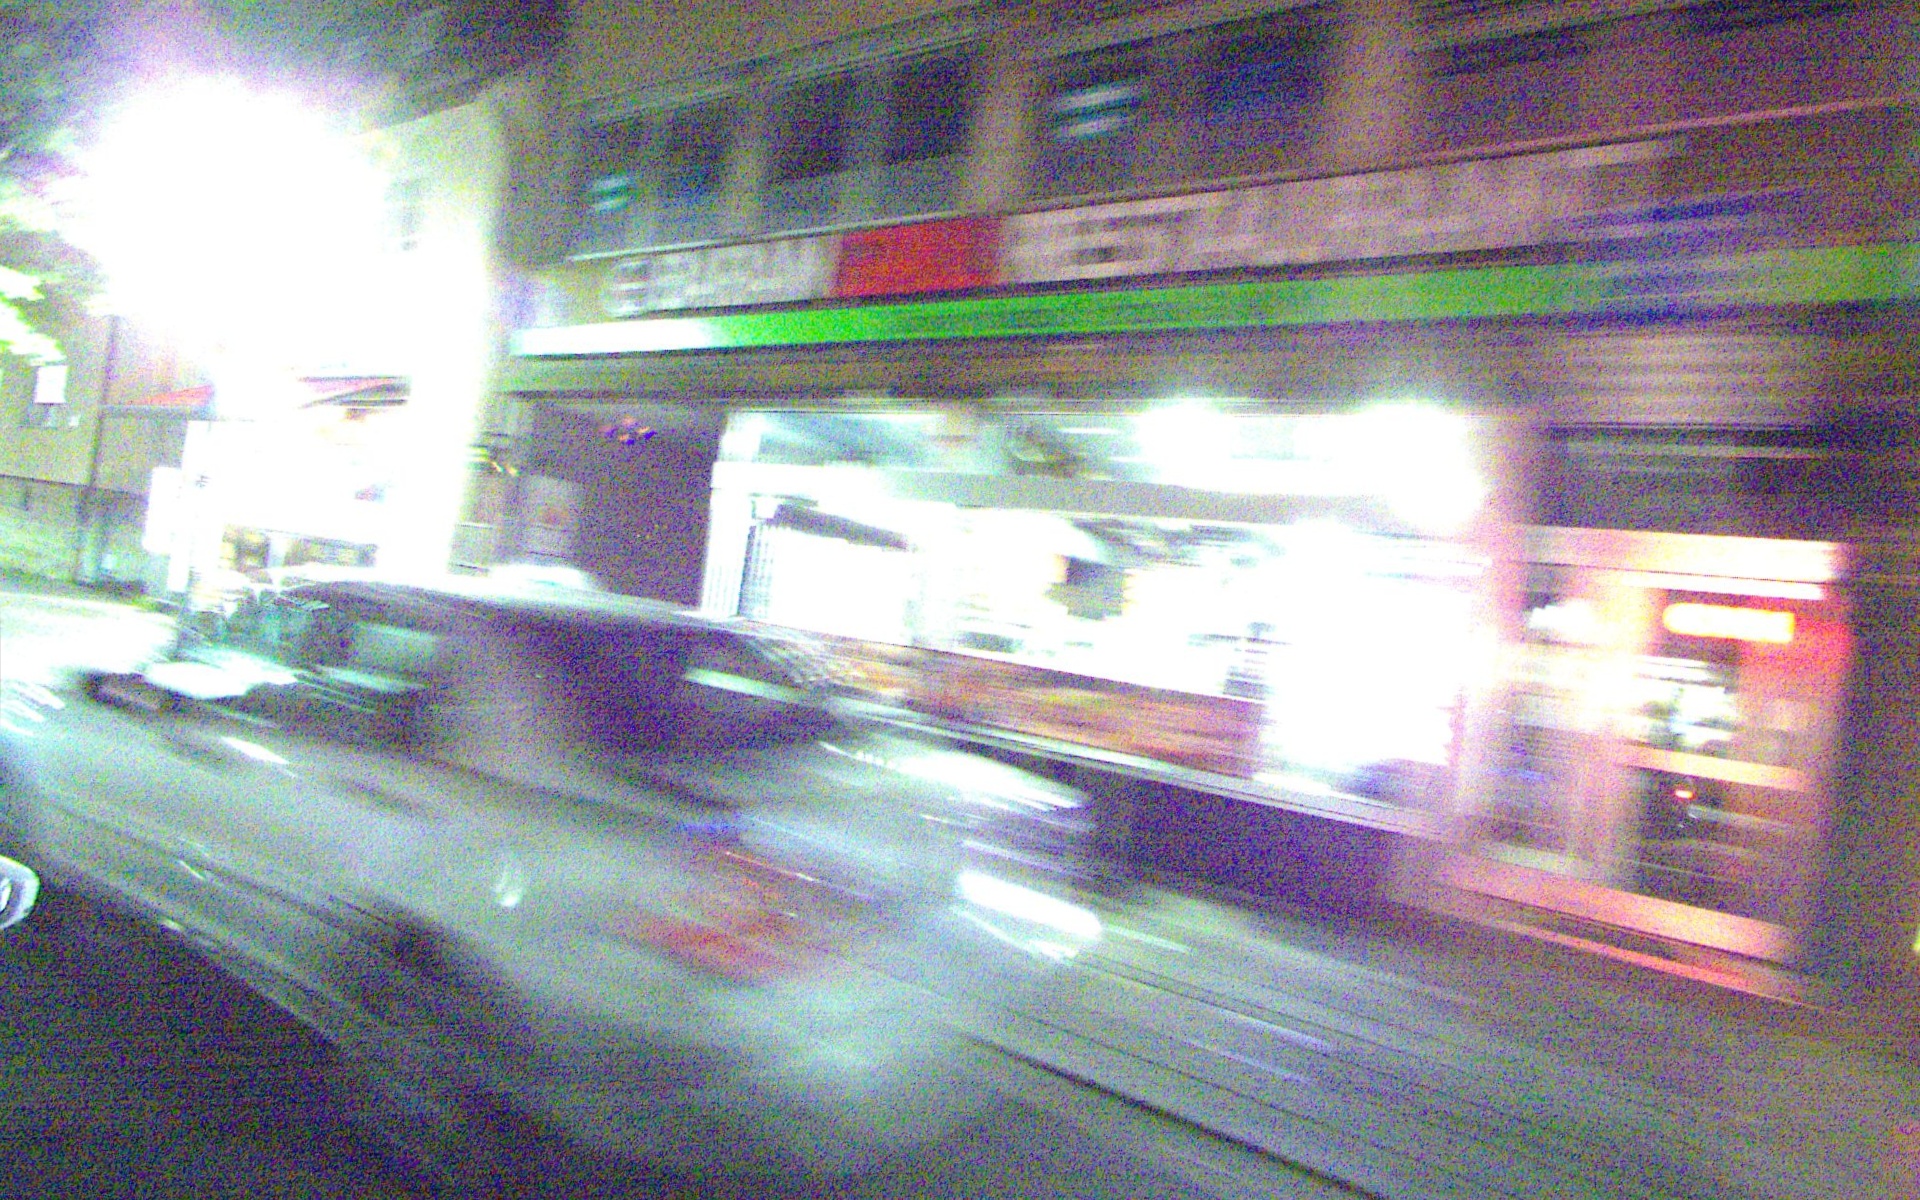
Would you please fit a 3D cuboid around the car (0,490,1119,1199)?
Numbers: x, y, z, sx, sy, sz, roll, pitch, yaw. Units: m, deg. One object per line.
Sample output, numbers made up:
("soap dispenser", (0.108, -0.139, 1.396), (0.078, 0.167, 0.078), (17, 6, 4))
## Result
("car", (-1.887, 0.560, 3.644), (4.418, 1.458, 1.739), (7, -1, 28))
